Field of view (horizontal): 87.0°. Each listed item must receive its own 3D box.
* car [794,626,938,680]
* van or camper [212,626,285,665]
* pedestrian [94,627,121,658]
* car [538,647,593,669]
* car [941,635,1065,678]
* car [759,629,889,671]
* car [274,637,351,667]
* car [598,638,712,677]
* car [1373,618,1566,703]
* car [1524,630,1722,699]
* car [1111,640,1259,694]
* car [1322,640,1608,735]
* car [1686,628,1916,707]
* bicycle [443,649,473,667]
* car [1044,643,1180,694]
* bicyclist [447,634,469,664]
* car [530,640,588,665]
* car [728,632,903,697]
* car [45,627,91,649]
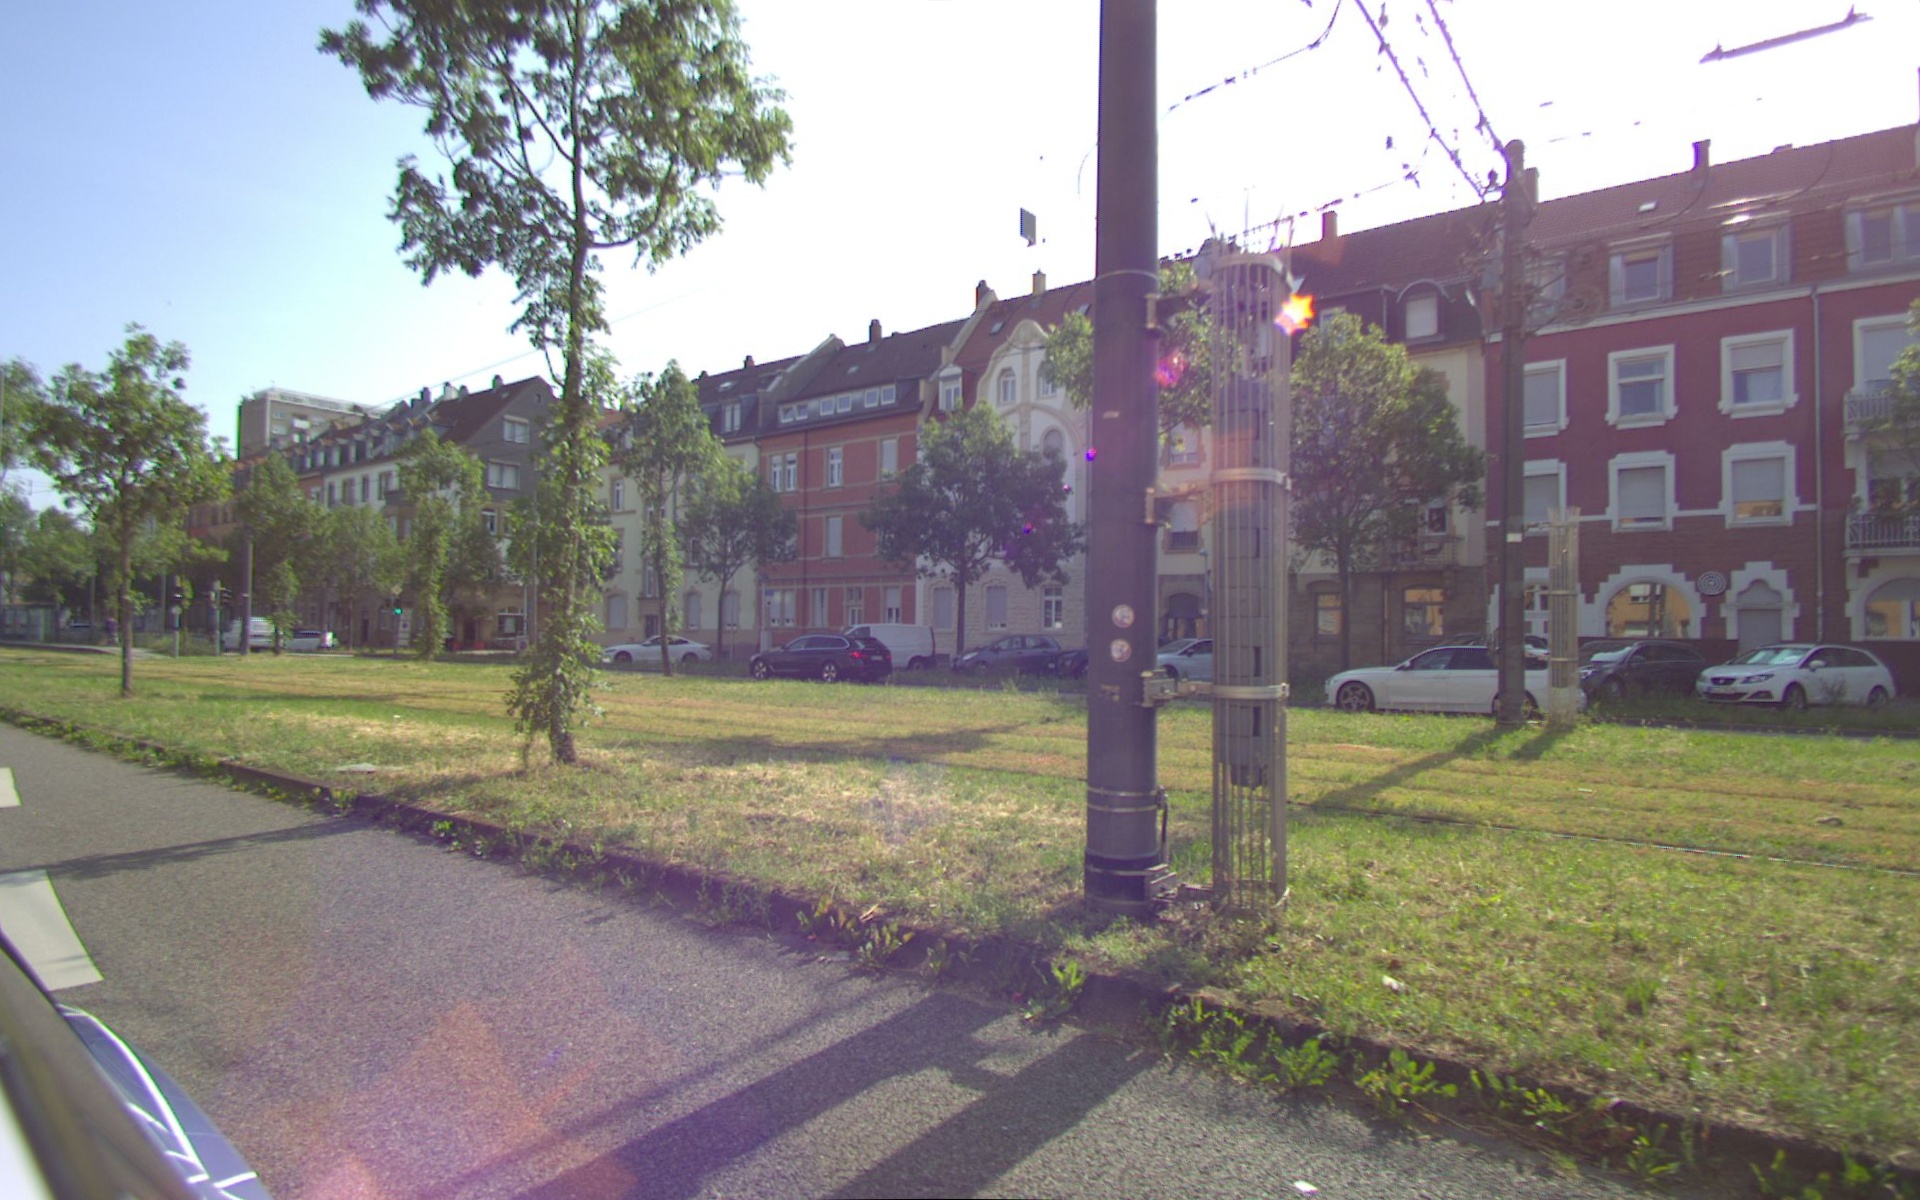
[{"bbox_3d":[-3.410,1.878,36.678,4.867,1.739,1.863,-1,0,-18],"label":"car"},{"bbox_3d":[-41.548,2.610,59.032,5.344,2.113,1.934,-1,0,37],"label":"van or camper"},{"bbox_3d":[-45.806,2.272,54.368,0.851,1.667,0.876,-1,-2,35],"label":"pedestrian"},{"bbox_3d":[-26.646,3.901,68.323,3.994,1.309,1.652,-1,-3,37],"label":"car"},{"bbox_3d":[1.355,1.784,32.338,3.623,1.251,1.530,-1,-2,-19],"label":"car"},{"bbox_3d":[-5.184,1.862,38.433,4.619,1.358,1.863,-1,0,-18],"label":"car"},{"bbox_3d":[-43.053,3.434,67.342,3.931,1.739,2.006,-1,0,-18],"label":"car"},{"bbox_3d":[-13.424,2.510,44.523,4.695,1.496,2.030,0,0,-21],"label":"car"},{"bbox_3d":[12.313,1.391,24.406,4.568,1.756,1.840,-1,0,-28],"label":"car"},{"bbox_3d":[14.287,1.342,21.851,3.623,1.251,1.667,-1,0,-18],"label":"car"},{"bbox_3d":[6.228,1.826,28.086,3.623,1.251,1.667,-1,0,-18],"label":"car"},{"bbox_3d":[9.643,1.580,19.512,4.643,1.470,1.929,-1,0,39],"label":"car"},{"bbox_3d":[16.743,1.289,20.182,3.946,1.326,1.667,-1,0,-18],"label":"car"},{"bbox_3d":[-27.728,3.202,55.862,2.020,0.872,0.845,0,0,45],"label":"bicycle"},{"bbox_3d":[4.519,2.005,30.177,3.623,1.251,1.668,-1,1,-19],"label":"car"},{"bbox_3d":[-27.721,2.694,55.884,0.836,1.570,0.903,-1,0,-45],"label":"bicyclist"},{"bbox_3d":[-30.062,3.916,75.970,1.602,1.595,3.778,-1,0,38],"label":"car"},{"bbox_3d":[-4.394,1.853,30.306,5.370,1.642,1.975,-1,0,37],"label":"car"},{"bbox_3d":[-68.360,2.868,77.570,4.570,1.544,1.817,-1,0,38],"label":"car"}]
